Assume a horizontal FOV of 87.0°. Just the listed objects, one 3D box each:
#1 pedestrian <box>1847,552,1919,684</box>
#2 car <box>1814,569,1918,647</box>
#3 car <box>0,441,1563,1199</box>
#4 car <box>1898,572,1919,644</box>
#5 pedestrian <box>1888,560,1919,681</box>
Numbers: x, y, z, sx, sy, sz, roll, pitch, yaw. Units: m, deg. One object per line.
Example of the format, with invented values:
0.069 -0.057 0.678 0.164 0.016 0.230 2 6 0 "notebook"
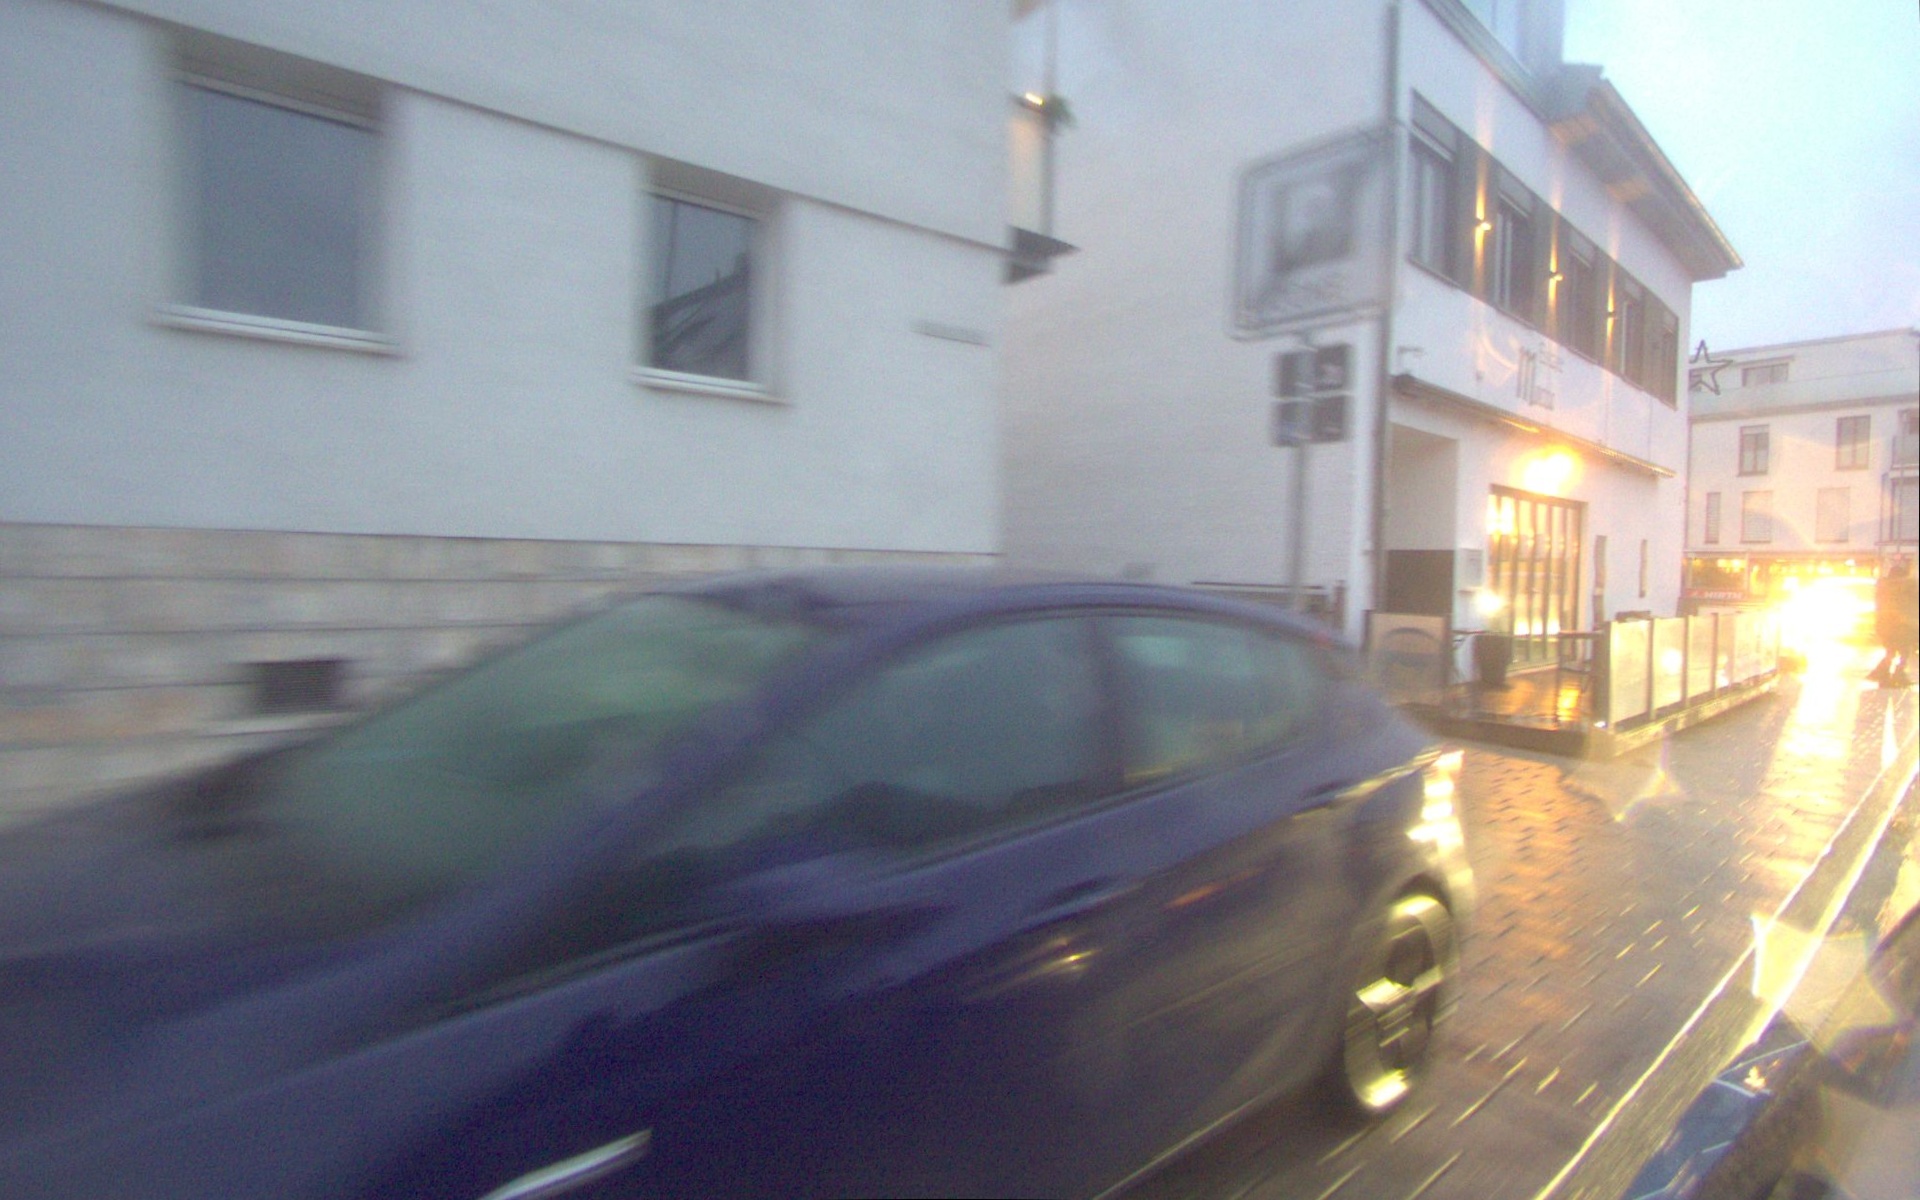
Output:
13.756 0.243 14.894 0.696 1.889 0.792 -2 1 3 "pedestrian"
23.298 0.142 26.148 1.818 1.767 3.944 0 2 40 "car"
-0.334 0.538 2.492 4.123 1.482 1.733 0 4 -39 "car"
20.654 0.213 20.024 2.010 1.497 4.513 -1 2 29 "car"
14.558 0.296 15.059 0.754 1.783 0.792 -2 1 3 "pedestrian"
